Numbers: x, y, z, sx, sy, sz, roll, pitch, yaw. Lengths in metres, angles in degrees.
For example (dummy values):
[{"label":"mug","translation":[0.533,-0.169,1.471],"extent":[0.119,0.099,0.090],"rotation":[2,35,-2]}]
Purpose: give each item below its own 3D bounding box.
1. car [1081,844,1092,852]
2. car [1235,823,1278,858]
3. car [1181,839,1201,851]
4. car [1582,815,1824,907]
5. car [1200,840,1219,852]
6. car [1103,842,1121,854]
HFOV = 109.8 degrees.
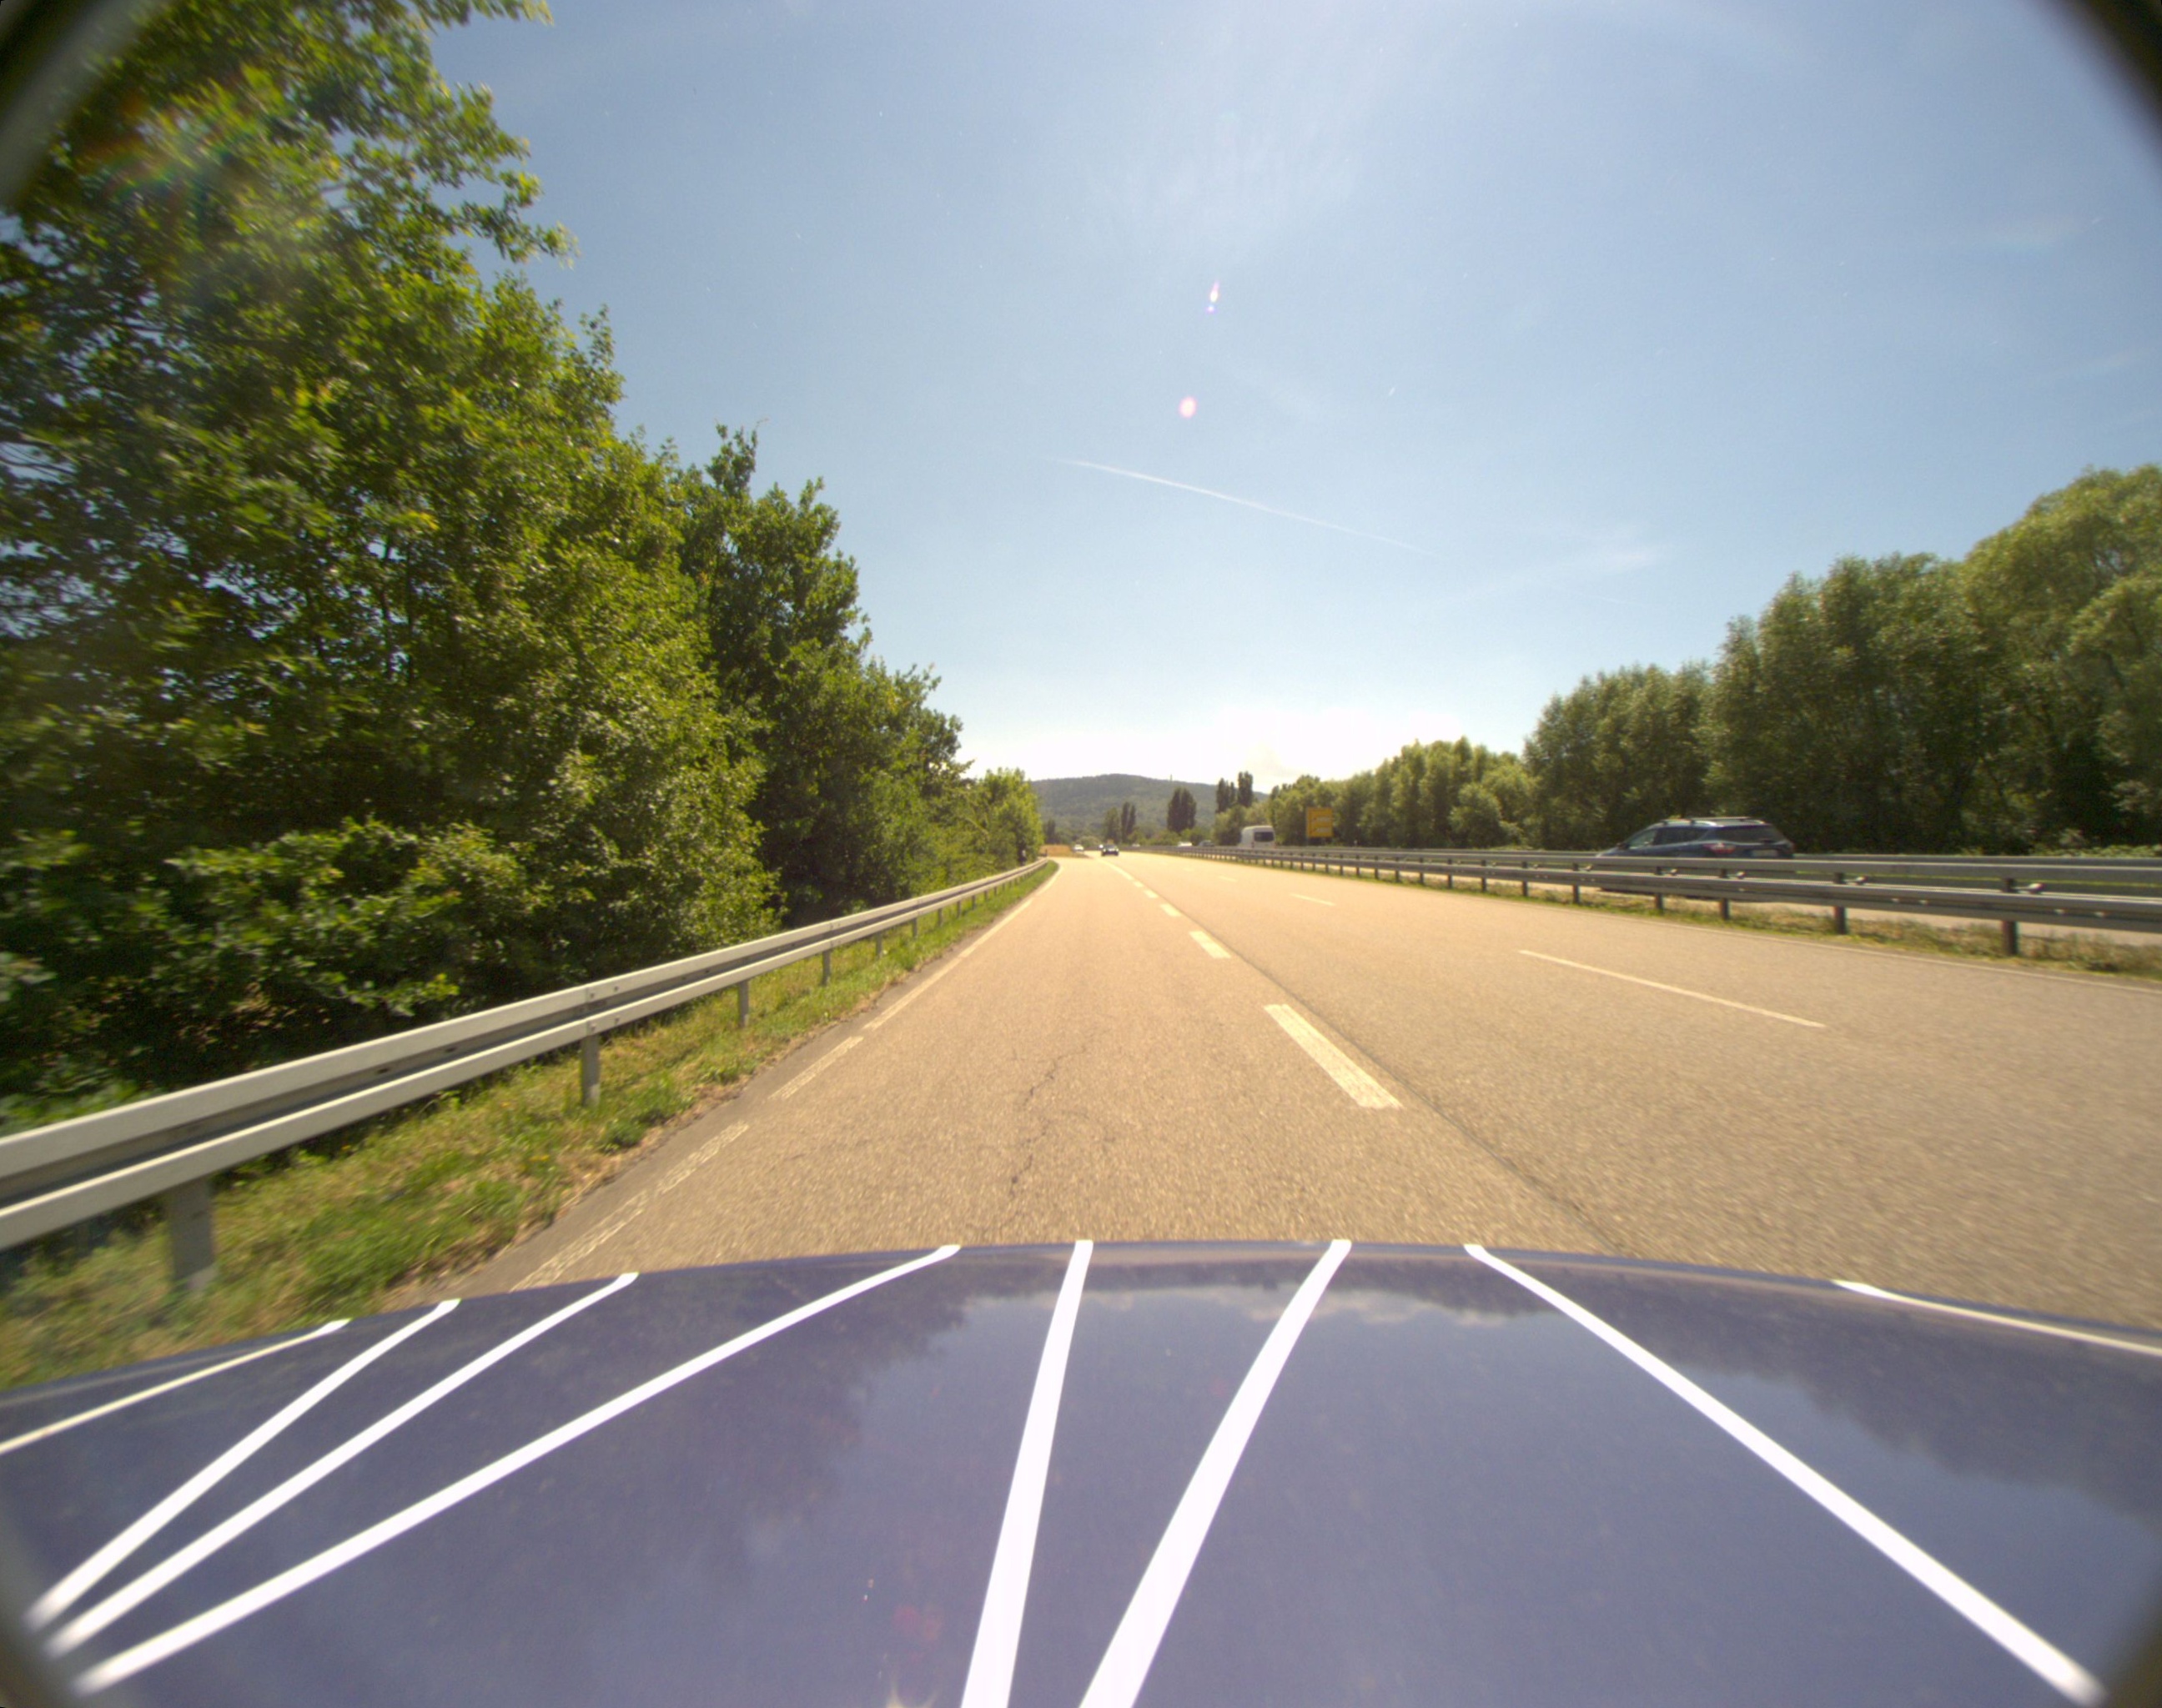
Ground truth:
[{"label":"car","translation":[1.179,-1.312,160.916],"extent":[1.998,1.630,4.001],"rotation":[-1,0,3]},{"label":"car","translation":[14.528,-1.148,63.204],"extent":[2.107,2.667,6.626],"rotation":[-2,1,1]},{"label":"car","translation":[14.374,-1.174,99.727],"extent":[1.923,1.481,3.998],"rotation":[-2,1,-2]},{"label":"car","translation":[14.092,0.104,17.654],"extent":[1.867,1.820,4.659],"rotation":[-2,1,1]},{"label":"car","translation":[17.820,-1.131,105.603],"extent":[1.693,1.543,4.072],"rotation":[-2,1,-3]},{"label":"car","translation":[3.729,-0.735,92.000],"extent":[1.909,1.368,3.890],"rotation":[-2,1,-1]}]
